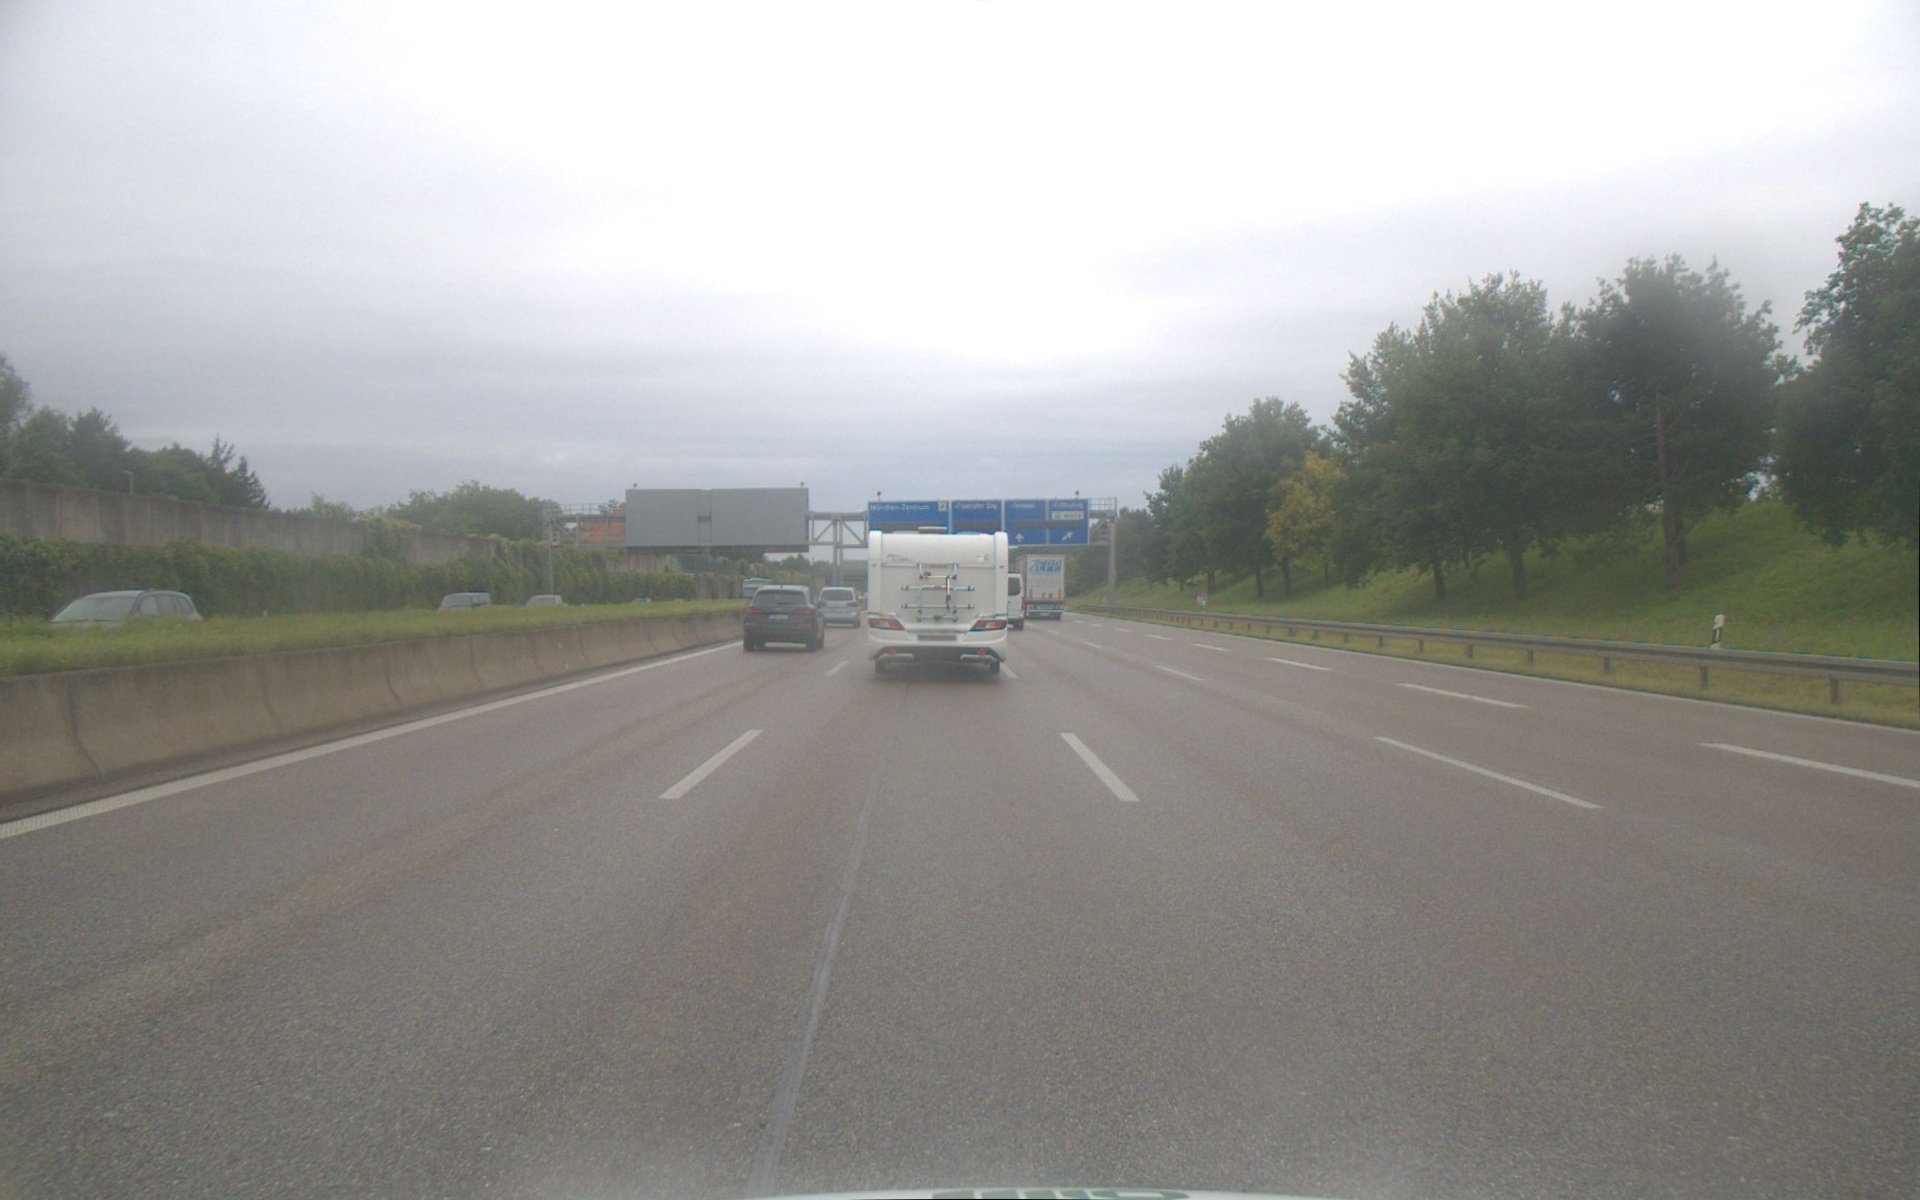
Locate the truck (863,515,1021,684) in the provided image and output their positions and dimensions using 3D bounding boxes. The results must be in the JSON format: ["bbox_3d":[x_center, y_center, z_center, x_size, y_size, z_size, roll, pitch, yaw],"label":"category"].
[{"bbox_3d":[-0.364,0.006,30.344,2.607,2.790,5.076,1,0,-2],"label":"truck"}]

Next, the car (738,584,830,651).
[{"bbox_3d":[-4.515,0.438,43.161,1.953,1.628,5.122,1,0,-2],"label":"car"}]

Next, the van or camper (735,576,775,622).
[{"bbox_3d":[-18.420,-0.083,149.201,2.653,4.017,8.400,1,0,-1],"label":"van or camper"}]

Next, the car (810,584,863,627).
[{"bbox_3d":[-5.314,0.230,71.640,2.085,1.736,4.111,2,0,-2],"label":"car"}]

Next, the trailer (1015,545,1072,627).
[{"bbox_3d":[5.376,-0.867,108.358,3.036,5.008,11.789,1,0,0],"label":"trailer"}]

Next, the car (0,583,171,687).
[{"bbox_3d":[-15.692,0.530,28.515,1.953,1.636,4.741,0,0,-1],"label":"car"}]

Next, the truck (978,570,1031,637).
[{"bbox_3d":[1.926,0.162,73.399,2.012,2.818,5.547,1,0,-2],"label":"truck"}]
